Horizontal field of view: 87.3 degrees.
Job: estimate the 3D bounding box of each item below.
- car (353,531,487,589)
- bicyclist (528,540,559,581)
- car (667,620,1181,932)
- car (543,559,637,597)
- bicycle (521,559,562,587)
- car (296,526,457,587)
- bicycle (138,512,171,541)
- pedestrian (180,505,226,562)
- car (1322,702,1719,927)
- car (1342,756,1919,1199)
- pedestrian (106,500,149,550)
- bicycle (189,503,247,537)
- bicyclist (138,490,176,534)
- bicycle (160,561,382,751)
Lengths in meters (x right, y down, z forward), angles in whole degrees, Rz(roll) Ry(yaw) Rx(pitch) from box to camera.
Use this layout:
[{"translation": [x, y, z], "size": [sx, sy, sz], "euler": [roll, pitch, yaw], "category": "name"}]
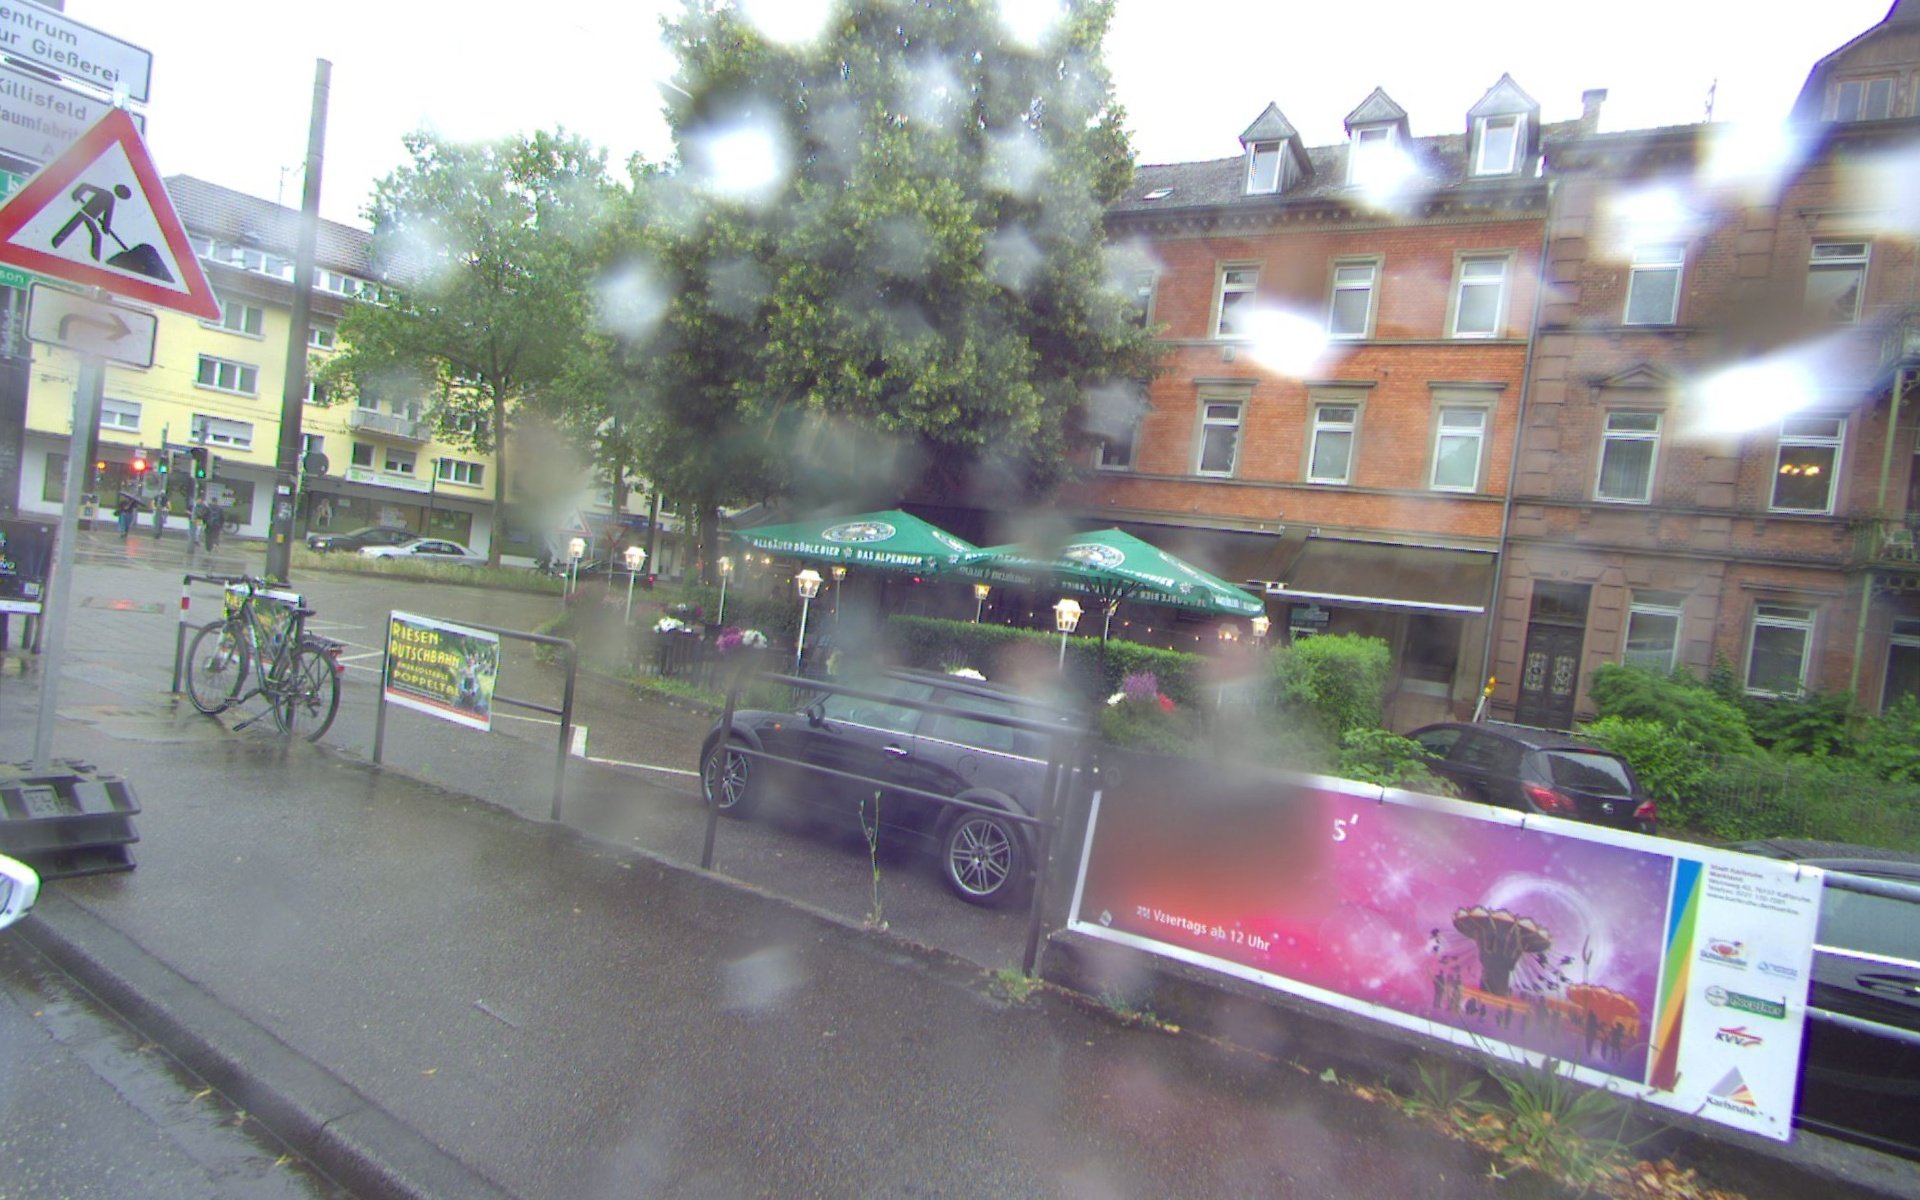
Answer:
[{"translation": [-19.865, -1.449, 37.089], "size": [3.926, 1.508, 1.784], "euler": [8, 0, -43], "category": "car"}, {"translation": [-18.165, -1.708, 43.915], "size": [0.699, 1.634, 0.815], "euler": [7, 0, 33], "category": "bicyclist"}, {"translation": [-0.340, 1.208, 7.793], "size": [3.467, 1.457, 1.710], "euler": [8, -3, 34], "category": "car"}, {"translation": [-15.495, -0.890, 42.267], "size": [1.227, 1.095, 3.531], "euler": [7, -2, 34], "category": "car"}, {"translation": [-18.241, -1.152, 43.893], "size": [0.415, 1.013, 1.640], "euler": [7, -1, 32], "category": "bicycle"}, {"translation": [-22.413, -1.636, 38.818], "size": [1.975, 1.661, 4.928], "euler": [3, -4, 43], "category": "car"}, {"translation": [-31.976, -2.912, 39.974], "size": [0.652, 1.039, 2.008], "euler": [8, -1, -31], "category": "bicycle"}, {"translation": [-24.486, -2.135, 32.552], "size": [0.897, 1.689, 1.012], "euler": [7, 0, -29], "category": "pedestrian"}, {"translation": [6.453, 2.403, 12.209], "size": [1.967, 1.733, 3.993], "euler": [8, -1, -11], "category": "car"}, {"translation": [4.172, 1.861, 4.969], "size": [3.907, 1.416, 1.706], "euler": [7, -1, 32], "category": "car"}, {"translation": [-28.042, -2.513, 33.902], "size": [0.612, 1.552, 0.816], "euler": [7, 0, -6], "category": "pedestrian"}, {"translation": [-35.533, -3.813, 48.188], "size": [2.096, 1.277, 0.525], "euler": [8, 0, -44], "category": "bicycle"}, {"translation": [-31.886, -3.472, 39.964], "size": [0.927, 1.566, 1.060], "euler": [7, -1, -32], "category": "bicyclist"}, {"translation": [-5.164, 0.385, 7.491], "size": [1.984, 1.119, 0.515], "euler": [7, -3, 34], "category": "bicycle"}]
